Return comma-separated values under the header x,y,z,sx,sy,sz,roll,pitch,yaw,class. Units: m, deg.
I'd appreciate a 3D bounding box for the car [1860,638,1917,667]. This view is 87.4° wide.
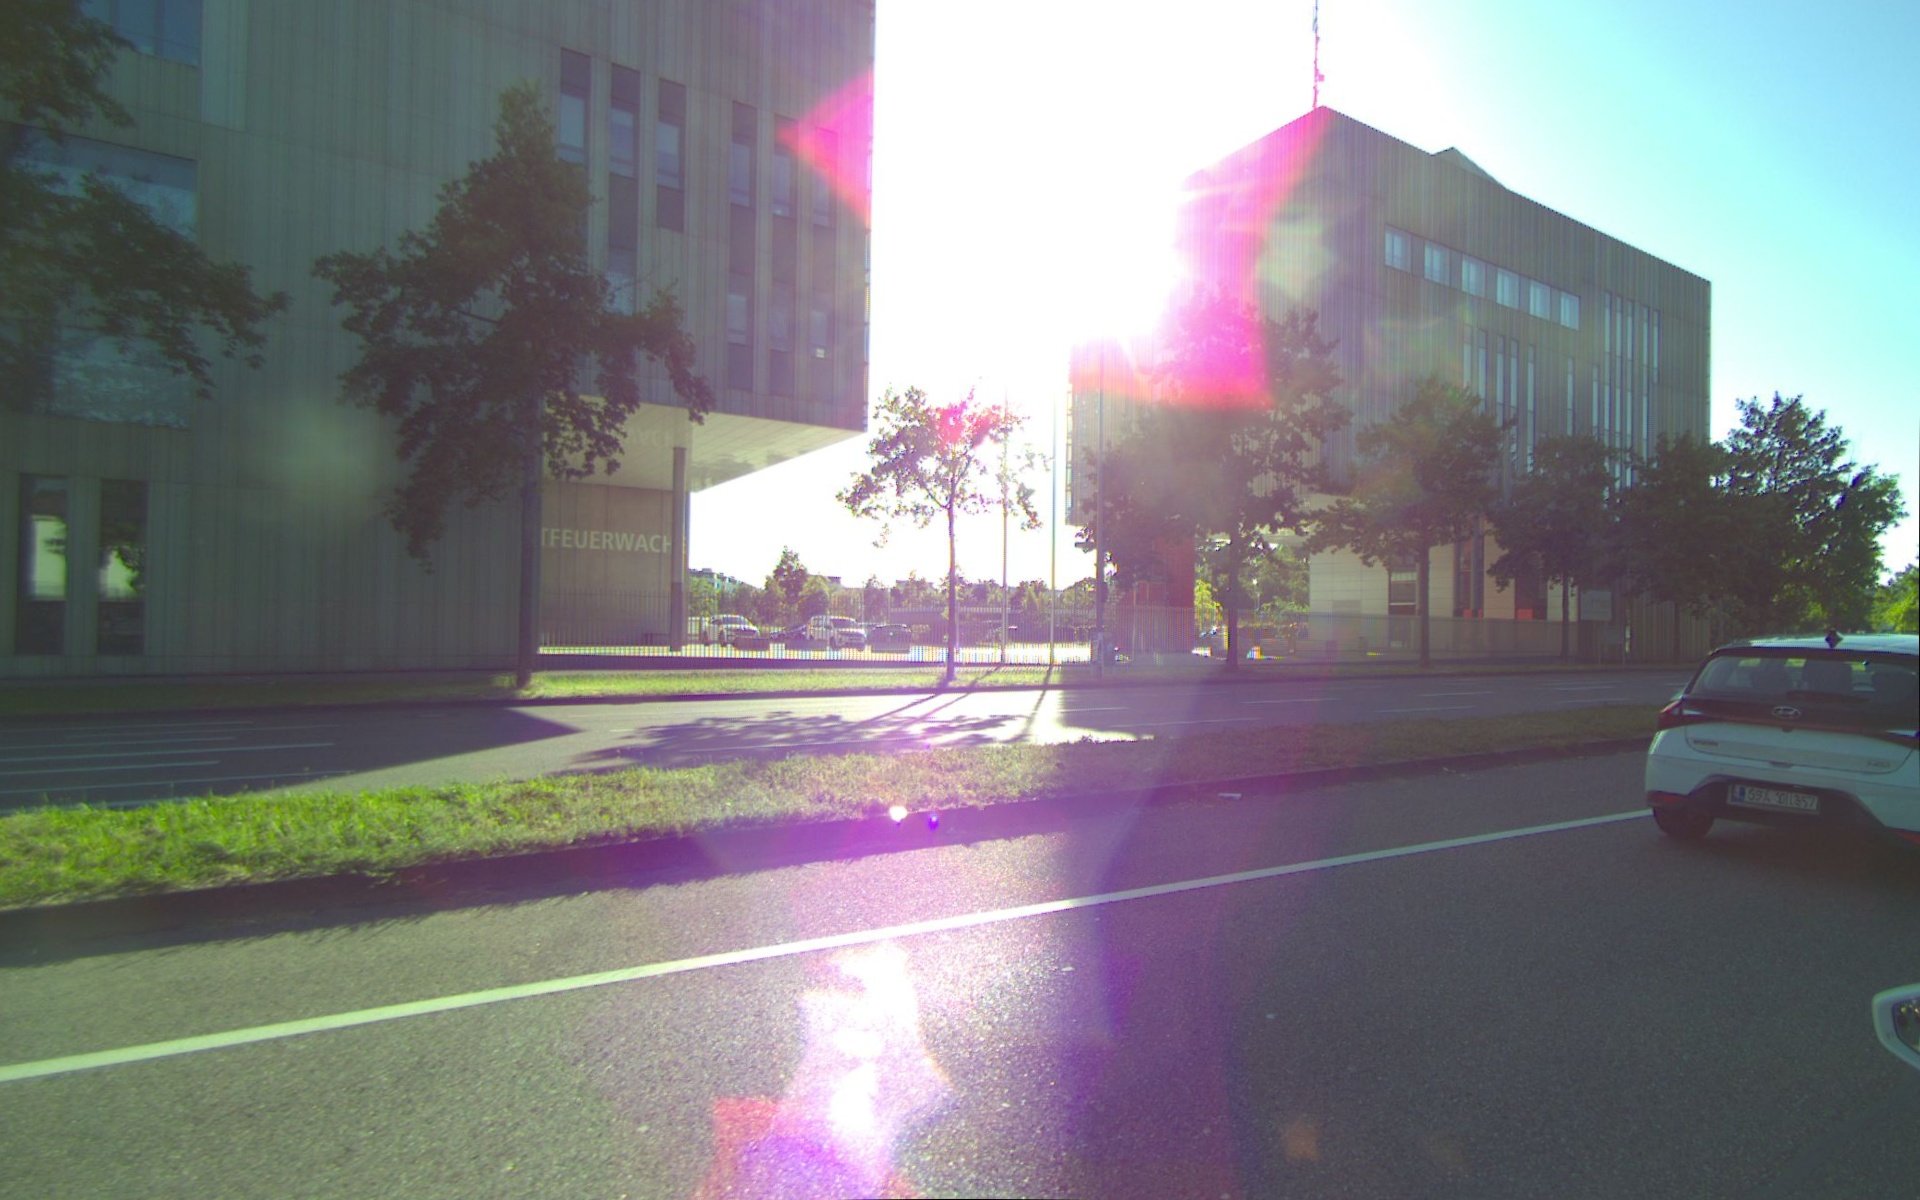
x,y,z,sx,sy,sz,roll,pitch,yaw,class
47.872,2.684,51.765,3.424,1.455,1.437,1,-1,-34,car

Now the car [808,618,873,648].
x,y,z,sx,sy,sz,roll,pitch,yaw,class
-6.477,1.748,54.124,1.912,1.523,4.367,1,-1,-30,car

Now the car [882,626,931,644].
x,y,z,sx,sy,sz,roll,pitch,yaw,class
-3.919,2.540,73.195,3.348,1.275,1.354,2,-1,-34,car

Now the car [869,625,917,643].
x,y,z,sx,sy,sz,roll,pitch,yaw,class
-4.949,2.519,74.325,3.348,1.275,1.354,2,-1,-34,car

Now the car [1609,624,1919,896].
x,y,z,sx,sy,sz,roll,pitch,yaw,class
6.542,0.915,7.029,4.028,1.427,1.769,1,0,-31,car

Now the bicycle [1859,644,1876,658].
x,y,z,sx,sy,sz,roll,pitch,yaw,class
67.785,3.805,75.017,2.074,1.016,0.484,2,-2,-34,bicycle

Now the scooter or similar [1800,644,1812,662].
x,y,z,sx,sy,sz,roll,pitch,yaw,class
54.654,3.414,64.902,1.313,1.164,0.230,2,-2,-32,scooter or similar

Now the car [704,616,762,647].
x,y,z,sx,sy,sz,roll,pitch,yaw,class
-11.577,1.564,51.056,1.741,1.472,4.236,1,-1,-30,car

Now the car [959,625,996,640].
x,y,z,sx,sy,sz,roll,pitch,yaw,class
1.674,3.155,96.541,3.408,1.401,1.421,2,-2,-35,car

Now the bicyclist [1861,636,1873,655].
x,y,z,sx,sy,sz,roll,pitch,yaw,class
67.675,3.392,74.956,0.835,1.413,0.479,2,-2,-34,bicyclist

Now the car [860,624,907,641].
x,y,z,sx,sy,sz,roll,pitch,yaw,class
-5.798,2.470,76.176,3.348,1.275,1.354,2,-1,-34,car
